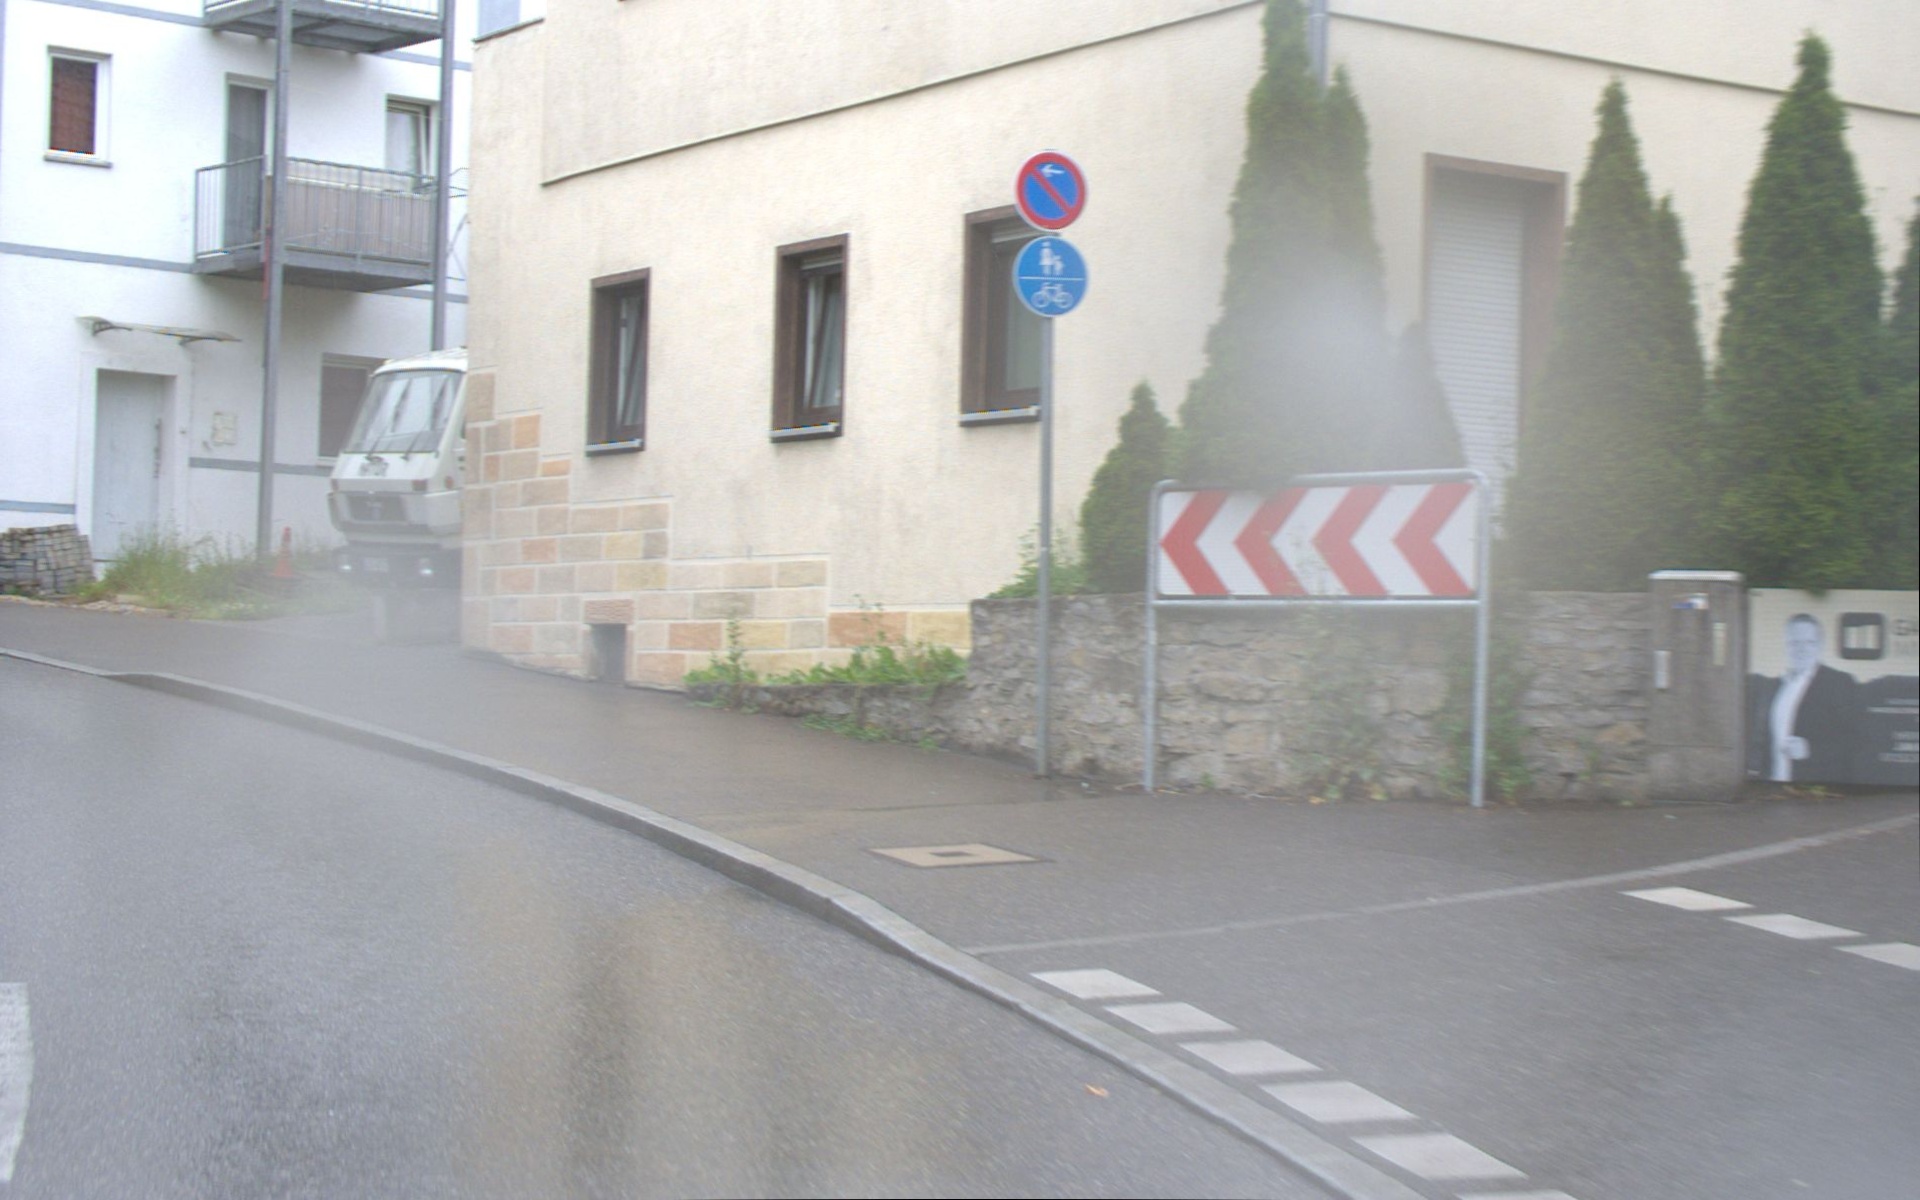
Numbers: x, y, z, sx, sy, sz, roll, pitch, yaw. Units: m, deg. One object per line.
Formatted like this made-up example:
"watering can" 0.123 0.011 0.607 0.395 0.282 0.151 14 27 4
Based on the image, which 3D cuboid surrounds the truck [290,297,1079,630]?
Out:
"truck" -2.345 -1.321 30.852 6.958 2.693 2.140 -3 6 -36
